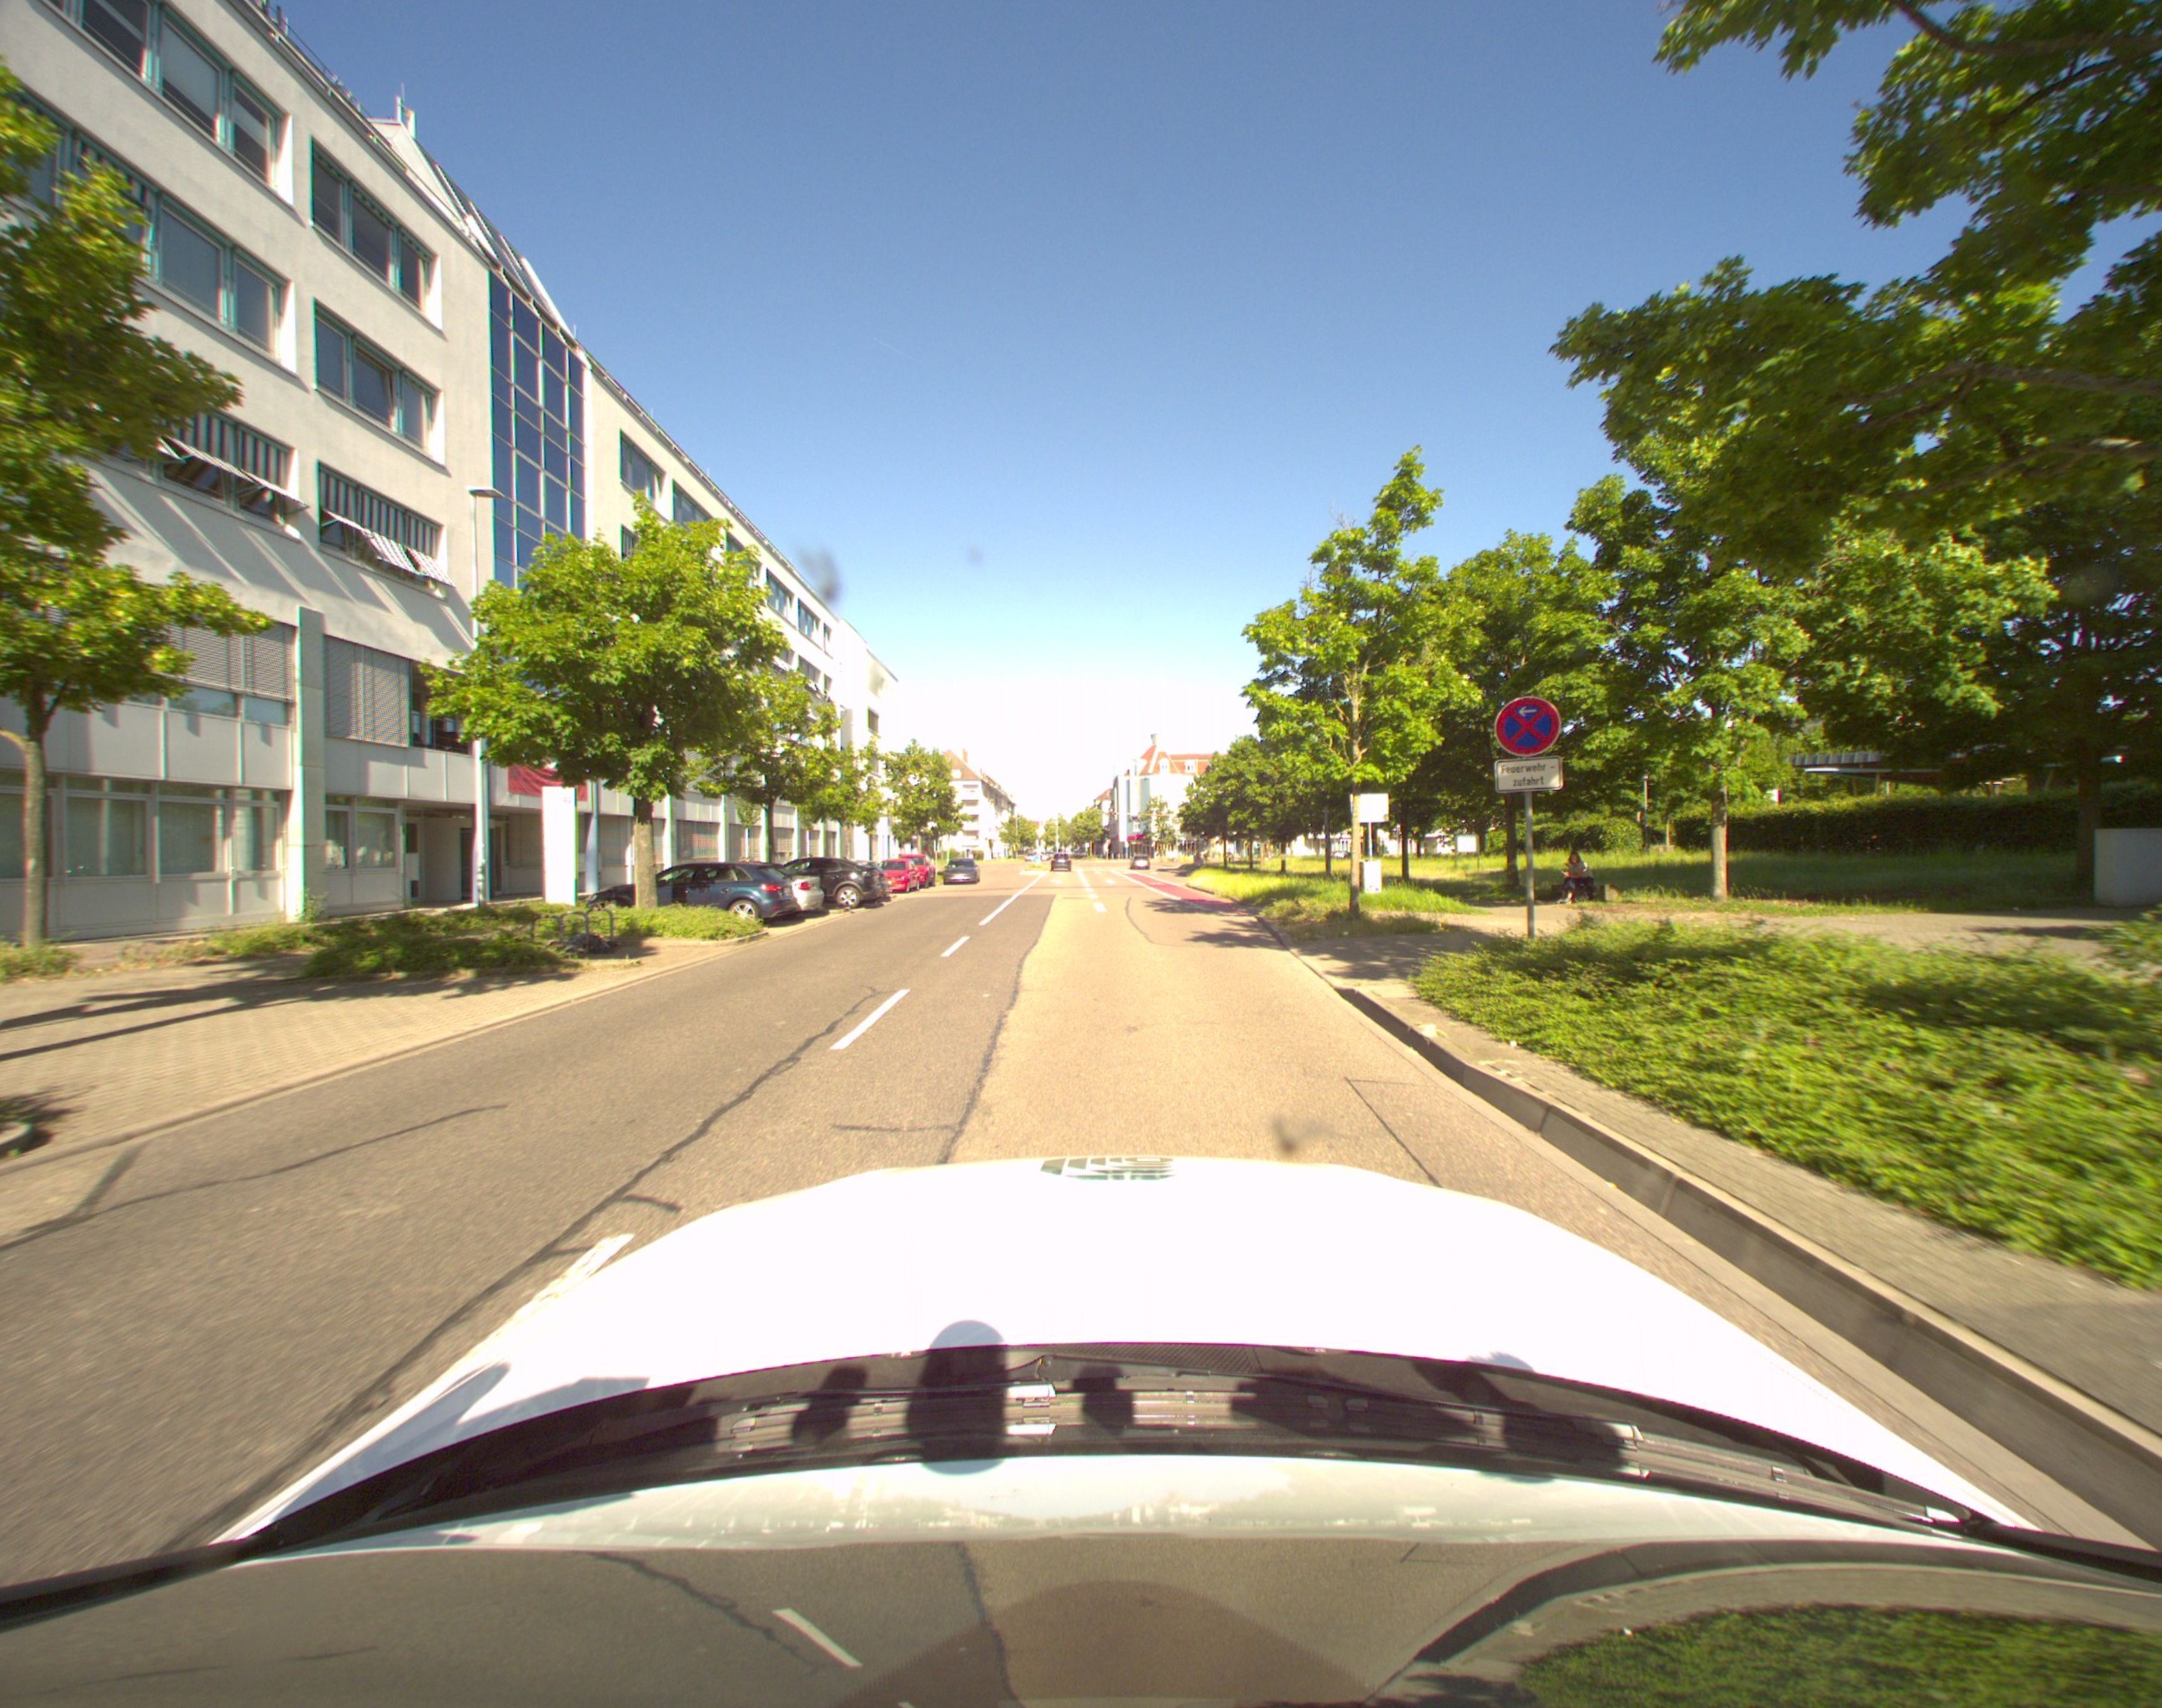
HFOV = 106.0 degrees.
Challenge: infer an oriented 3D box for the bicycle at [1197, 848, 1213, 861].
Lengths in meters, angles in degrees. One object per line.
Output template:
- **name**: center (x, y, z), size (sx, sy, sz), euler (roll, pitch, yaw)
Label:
- **bicycle**: center (13.225, 0.041, 86.795), size (0.782, 1.347, 2.092), euler (-1, 0, 36)

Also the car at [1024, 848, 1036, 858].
- **car**: center (-8.779, -0.182, 141.256), size (1.748, 1.556, 3.730), euler (1, 0, 0)

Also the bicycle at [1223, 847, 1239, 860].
- **bicycle**: center (16.219, -0.014, 87.884), size (0.782, 1.347, 2.277), euler (-1, 0, 36)

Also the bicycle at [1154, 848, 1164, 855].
- **bicycle**: center (12.074, -0.424, 126.543), size (1.502, 1.027, 0.474), euler (-1, 0, 9)

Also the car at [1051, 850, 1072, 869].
- **car**: center (-1.709, 0.439, 72.398), size (1.749, 1.628, 4.476), euler (1, 0, -1)

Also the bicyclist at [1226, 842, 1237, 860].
- **bicyclist**: center (16.270, -0.317, 87.953), size (0.782, 1.959, 1.017), euler (-1, 0, 36)

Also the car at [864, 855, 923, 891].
- **car**: center (-8.023, 0.777, 35.132), size (1.683, 1.432, 3.870), euler (1, 0, -1)

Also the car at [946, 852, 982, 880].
- **car**: center (-6.581, 0.635, 46.199), size (1.685, 1.468, 4.540), euler (-2, 0, -4)

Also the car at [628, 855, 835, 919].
- **car**: center (-8.623, 0.787, 20.354), size (4.374, 1.432, 1.692), euler (1, 0, -2)

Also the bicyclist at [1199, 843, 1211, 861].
- **bicyclist**: center (13.238, -0.201, 86.819), size (0.782, 1.824, 1.143), euler (-1, 0, 36)

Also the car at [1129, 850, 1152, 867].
- **car**: center (5.855, 0.422, 80.824), size (1.685, 1.577, 3.866), euler (1, 0, -4)

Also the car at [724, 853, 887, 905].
- **car**: center (-8.273, 0.742, 24.762), size (4.377, 1.432, 1.691), euler (1, 0, -5)

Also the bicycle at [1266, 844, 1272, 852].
- **bicycle**: center (30.583, -0.961, 132.405), size (0.558, 1.182, 1.870), euler (-1, 1, 0)

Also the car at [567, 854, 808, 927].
- **car**: center (-8.474, 0.781, 17.875), size (4.379, 1.432, 1.690), euler (1, 0, -6)

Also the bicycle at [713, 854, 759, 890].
- **bicycle**: center (-13.836, 0.705, 32.736), size (0.706, 1.347, 2.235), euler (-2, 0, 4)

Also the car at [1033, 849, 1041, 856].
- **car**: center (-10.009, -0.376, 185.670), size (1.748, 1.556, 3.730), euler (1, 0, 0)

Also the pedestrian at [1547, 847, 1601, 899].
- **pedestrian**: center (12.115, 0.456, 20.016), size (0.845, 1.217, 0.725), euler (-2, 0, -14)

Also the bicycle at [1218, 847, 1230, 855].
- **bicycle**: center (23.046, -0.485, 131.091), size (1.861, 1.182, 0.561), euler (-1, 0, -6)

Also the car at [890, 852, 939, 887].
- **car**: center (-8.189, 0.718, 40.390), size (1.684, 1.607, 4.306), euler (1, 0, -3)

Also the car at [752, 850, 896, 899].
- **car**: center (-8.684, 0.679, 27.798), size (4.379, 1.538, 1.690), euler (1, 0, -6)
